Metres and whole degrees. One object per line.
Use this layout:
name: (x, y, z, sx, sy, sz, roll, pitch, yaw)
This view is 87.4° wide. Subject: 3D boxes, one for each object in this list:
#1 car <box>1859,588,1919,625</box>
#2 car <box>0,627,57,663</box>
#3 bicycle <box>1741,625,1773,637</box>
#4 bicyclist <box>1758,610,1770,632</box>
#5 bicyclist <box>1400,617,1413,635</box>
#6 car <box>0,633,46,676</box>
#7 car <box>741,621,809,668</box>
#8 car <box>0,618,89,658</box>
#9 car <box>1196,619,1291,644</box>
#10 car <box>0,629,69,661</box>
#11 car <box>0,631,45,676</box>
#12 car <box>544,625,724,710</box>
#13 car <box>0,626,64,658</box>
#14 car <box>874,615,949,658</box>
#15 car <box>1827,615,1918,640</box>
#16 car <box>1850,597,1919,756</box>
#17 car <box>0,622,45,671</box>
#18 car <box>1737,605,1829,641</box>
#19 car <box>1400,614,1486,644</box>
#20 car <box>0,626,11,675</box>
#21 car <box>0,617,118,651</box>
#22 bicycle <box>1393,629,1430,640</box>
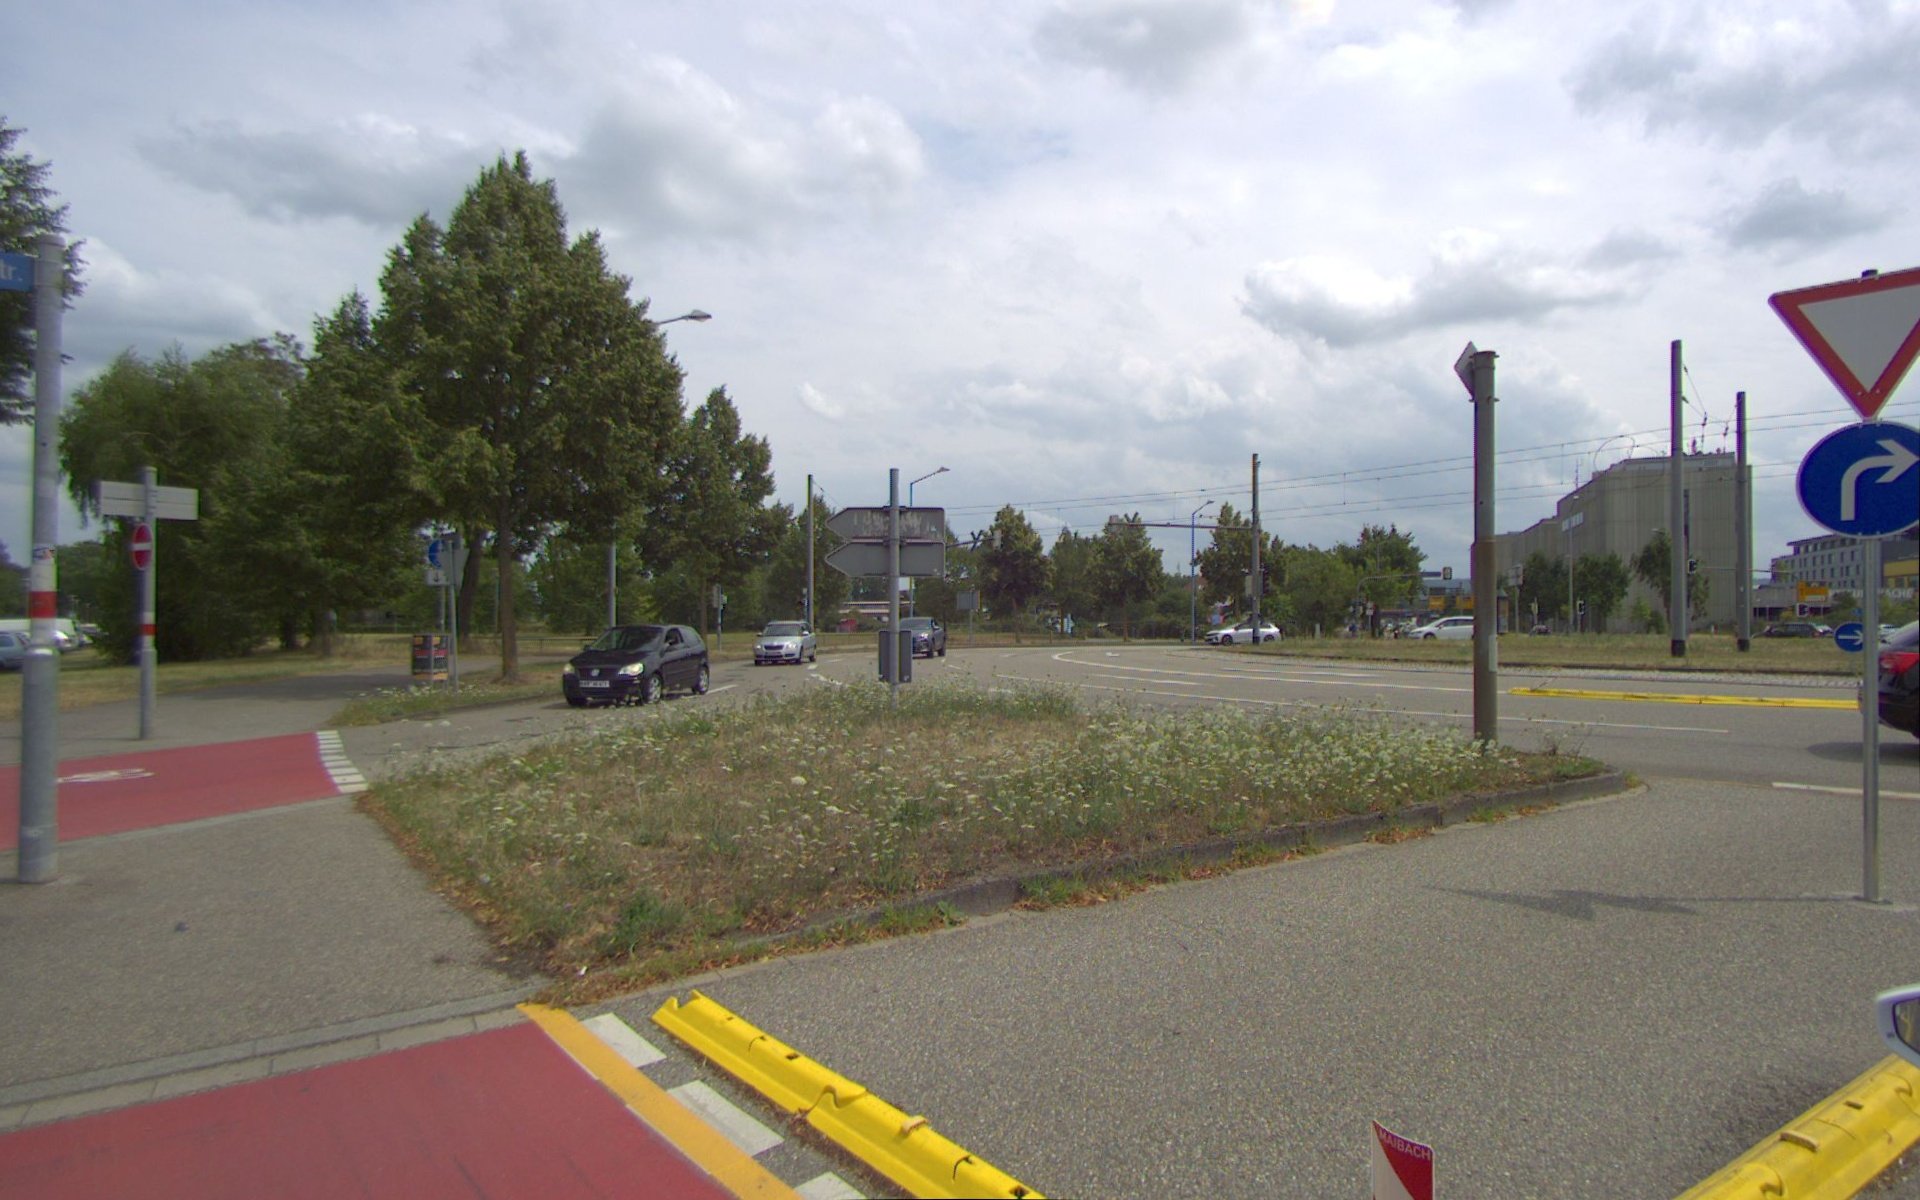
car: (55.011, 0.400, 57.921, 1.972, 2.040, 4.338, 2, -1, -23)
car: (-41.421, 1.901, 42.706, 4.350, 1.491, 1.812, 1, -1, -39)
bicycle: (57.860, 2.253, 72.913, 1.807, 0.889, 0.528, -1, -1, 40)
bicyclist: (58.169, 1.489, 72.655, 0.641, 1.579, 0.528, -1, -1, 40)
bicyclist: (35.988, 2.117, 80.924, 0.660, 1.428, 0.864, 0, -1, 4)
car: (-35.407, 1.922, 35.199, 4.847, 1.491, 1.812, 1, -1, -39)
car: (-6.542, 1.504, 35.163, 1.604, 1.539, 4.198, 0, -1, -21)
car: (-49.362, 1.974, 52.681, 5.527, 2.083, 2.175, 1, -1, -41)
car: (16.972, 1.863, 60.208, 5.088, 1.502, 1.997, 0, -1, -8)
car: (-46.209, 2.189, 48.797, 4.275, 1.491, 1.812, 1, -1, -39)
car: (-33.828, 1.802, 33.424, 4.847, 1.491, 1.812, 1, -1, -39)
car: (-6.066, 1.223, 19.127, 1.599, 1.433, 3.724, -2, -2, 12)
car: (-44.642, 1.942, 46.726, 4.275, 1.491, 1.812, 1, -1, -39)
car: (-1.840, 1.398, 39.727, 2.022, 1.572, 4.478, 0, -1, 10)
car: (57.555, 1.723, 63.432, 1.800, 1.483, 3.995, 2, -1, -8)
car: (11.064, 0.728, 9.329, 4.083, 1.539, 1.733, -1, -1, 39)
car: (-31.889, 1.530, 31.483, 4.671, 1.491, 1.811, -2, 1, -42)
car: (48.599, 1.348, 59.437, 1.962, 2.040, 3.997, 2, -1, -6)
car: (29.281, 1.769, 60.987, 4.267, 1.687, 1.940, -2, -1, 10)
car: (-30.101, 1.558, 29.708, 1.464, 1.442, 2.898, -2, 0, 44)
car: (-56.210, 2.094, 62.691, 5.523, 2.083, 2.176, 1, -1, -39)
bicycle: (36.356, 2.774, 80.874, 2.605, 0.866, 0.864, 0, -1, 4)
